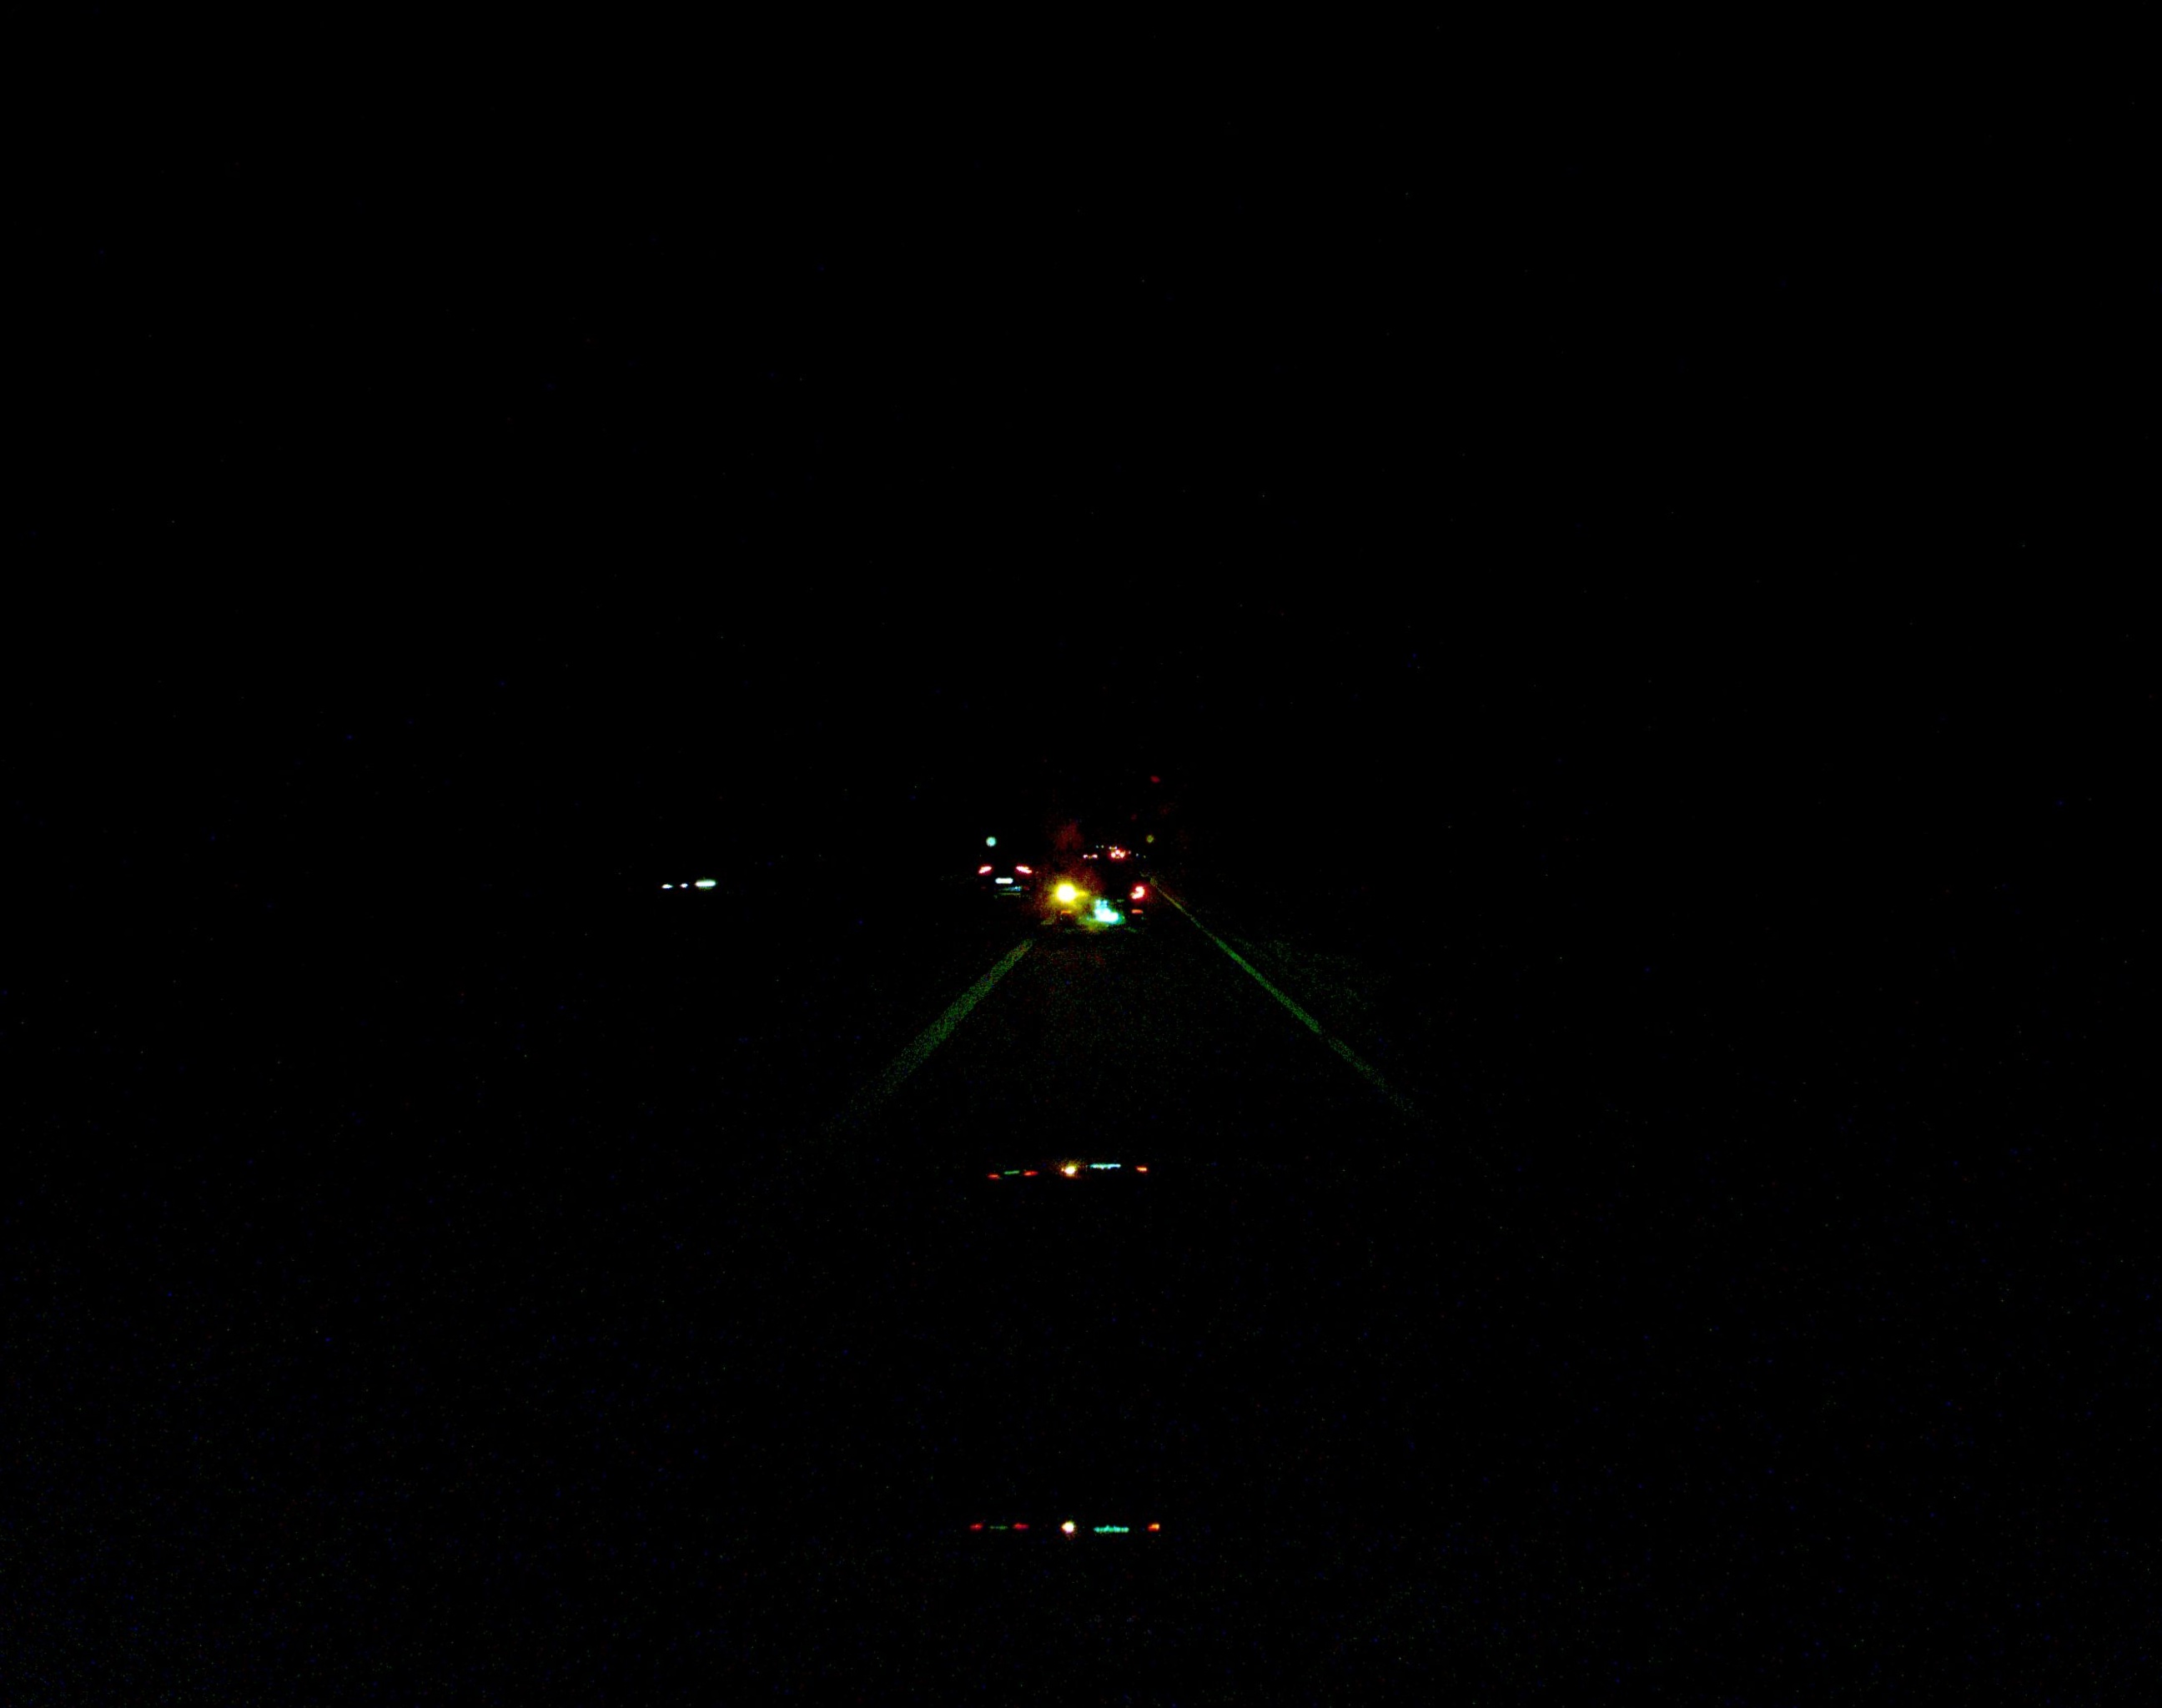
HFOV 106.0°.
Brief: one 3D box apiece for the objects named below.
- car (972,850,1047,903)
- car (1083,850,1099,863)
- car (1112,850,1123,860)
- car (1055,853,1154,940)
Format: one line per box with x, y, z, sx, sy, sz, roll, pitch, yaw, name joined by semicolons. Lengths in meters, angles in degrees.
-2.303;0.690;27.550;1.932;1.608;4.646;0;0;2;car
1.410;0.324;110.643;1.944;1.538;4.242;-5;-2;2;car
5.856;0.196;131.972;1.727;1.618;3.799;-1;0;1;car
0.347;0.728;15.801;1.687;1.478;3.997;0;0;-2;car
